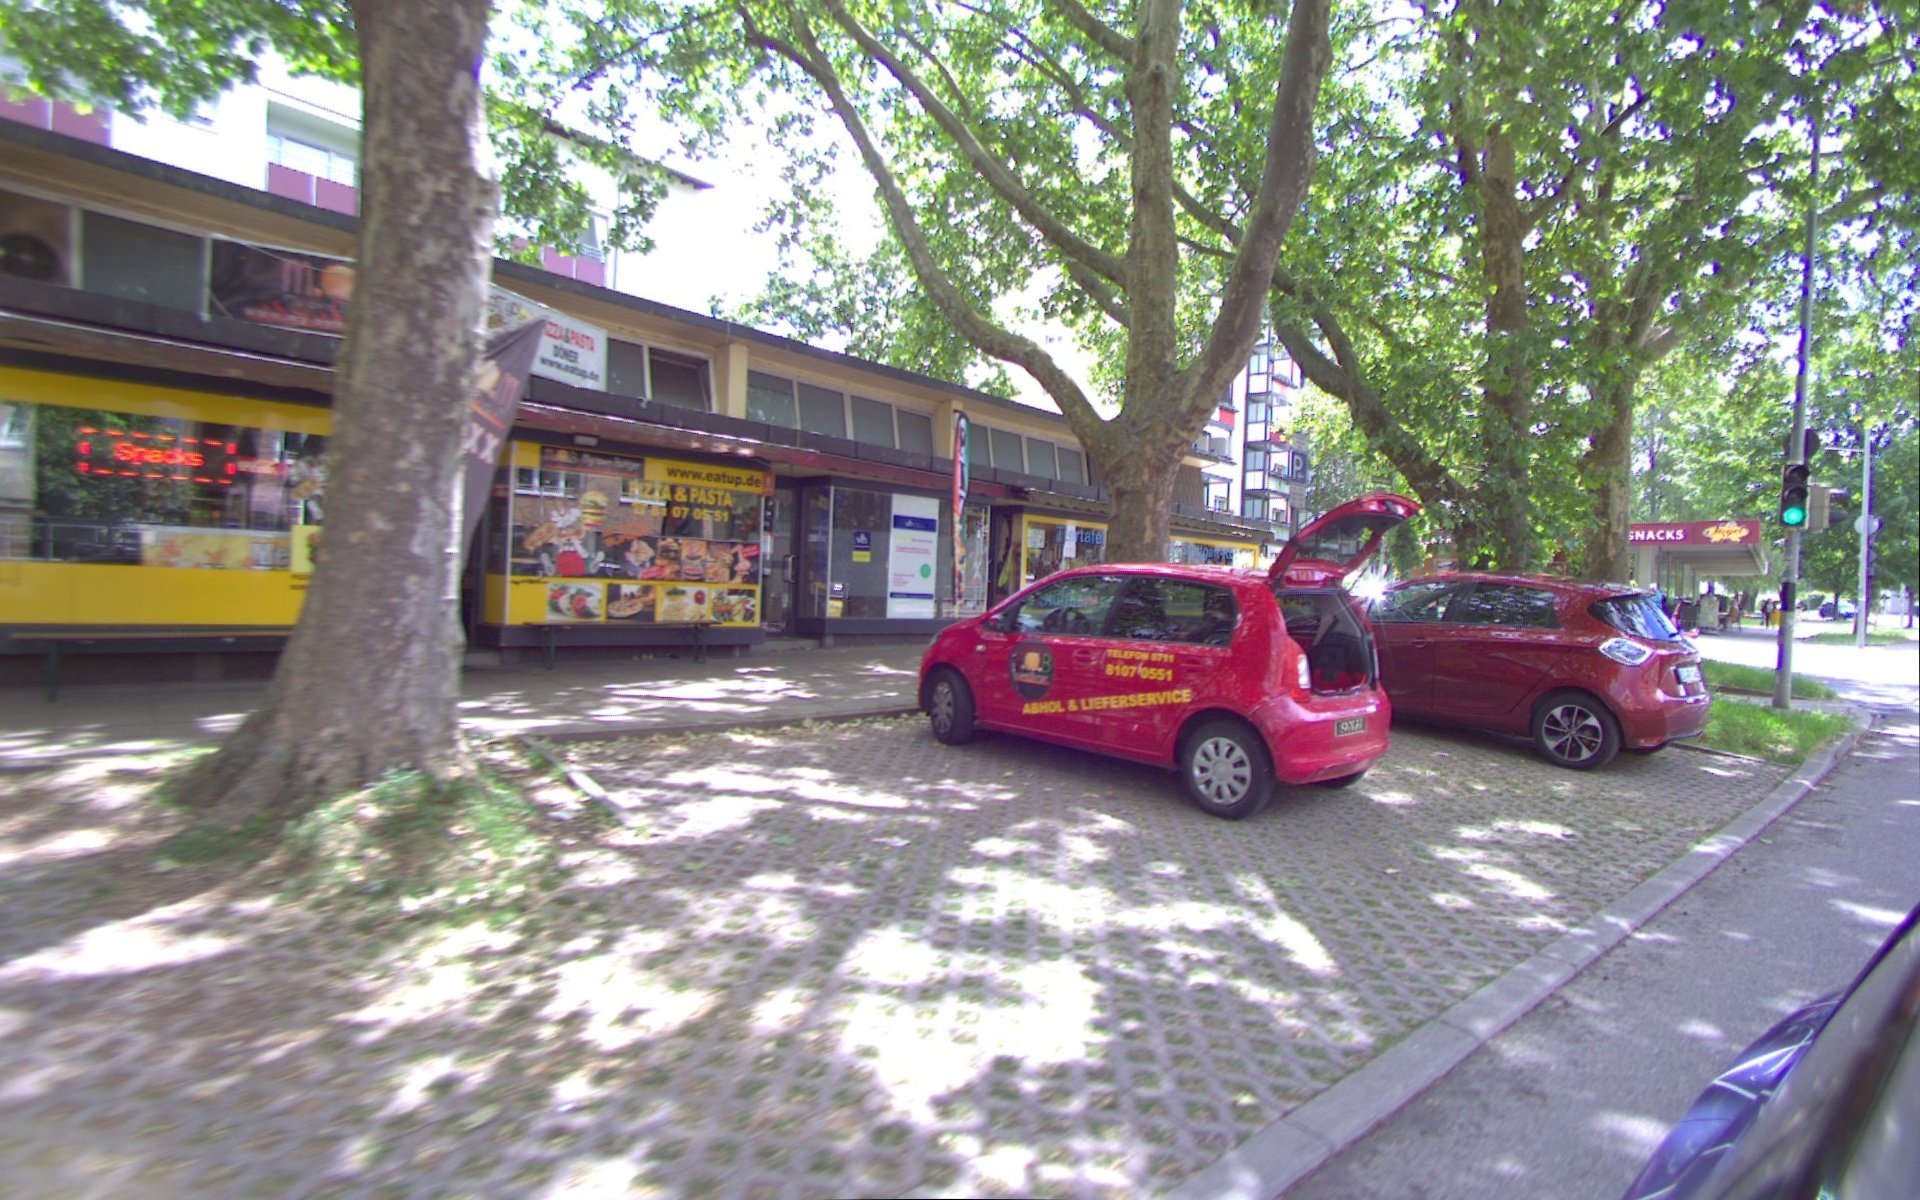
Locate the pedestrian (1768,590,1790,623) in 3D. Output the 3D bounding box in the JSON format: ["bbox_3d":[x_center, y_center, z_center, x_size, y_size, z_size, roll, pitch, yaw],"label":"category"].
[{"bbox_3d":[39.963,0.305,49.378,0.643,1.557,0.725,1,1,-45],"label":"pedestrian"}]

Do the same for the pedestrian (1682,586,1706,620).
[{"bbox_3d":[29.773,0.114,41.043,0.675,1.282,0.664,5,4,42],"label":"pedestrian"}]

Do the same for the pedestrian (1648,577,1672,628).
[{"bbox_3d":[23.009,0.071,33.269,0.436,1.652,0.399,2,1,8],"label":"pedestrian"}]

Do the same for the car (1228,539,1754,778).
[{"bbox_3d":[4.802,0.346,9.701,1.699,1.630,4.044,0,5,-37],"label":"car"}]

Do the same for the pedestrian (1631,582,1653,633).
[{"bbox_3d":[22.544,0.239,33.463,0.436,1.652,0.399,2,1,8],"label":"pedestrian"}]

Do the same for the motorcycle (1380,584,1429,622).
[{"bbox_3d":[15.034,0.078,34.282,0.726,1.210,2.138,2,2,2],"label":"motorcycle"}]

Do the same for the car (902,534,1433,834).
[{"bbox_3d":[1.315,0.383,7.314,1.583,1.533,3.412,0,4,-44],"label":"car"}]

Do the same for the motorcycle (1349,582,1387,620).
[{"bbox_3d":[14.254,0.021,35.429,0.728,1.210,2.134,2,2,9],"label":"motorcycle"}]

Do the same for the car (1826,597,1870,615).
[{"bbox_3d":[73.012,0.484,83.280,1.793,1.371,3.961,2,2,28],"label":"car"}]

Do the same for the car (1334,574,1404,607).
[{"bbox_3d":[17.908,-0.402,44.259,1.743,1.359,3.436,3,1,42],"label":"car"}]

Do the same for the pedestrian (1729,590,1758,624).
[{"bbox_3d":[31.292,0.289,40.405,0.661,1.282,0.678,1,3,-37],"label":"pedestrian"}]

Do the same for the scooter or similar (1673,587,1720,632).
[{"bbox_3d":[22.484,0.286,30.899,1.206,1.324,0.378,1,1,-8],"label":"scooter or similar"}]
